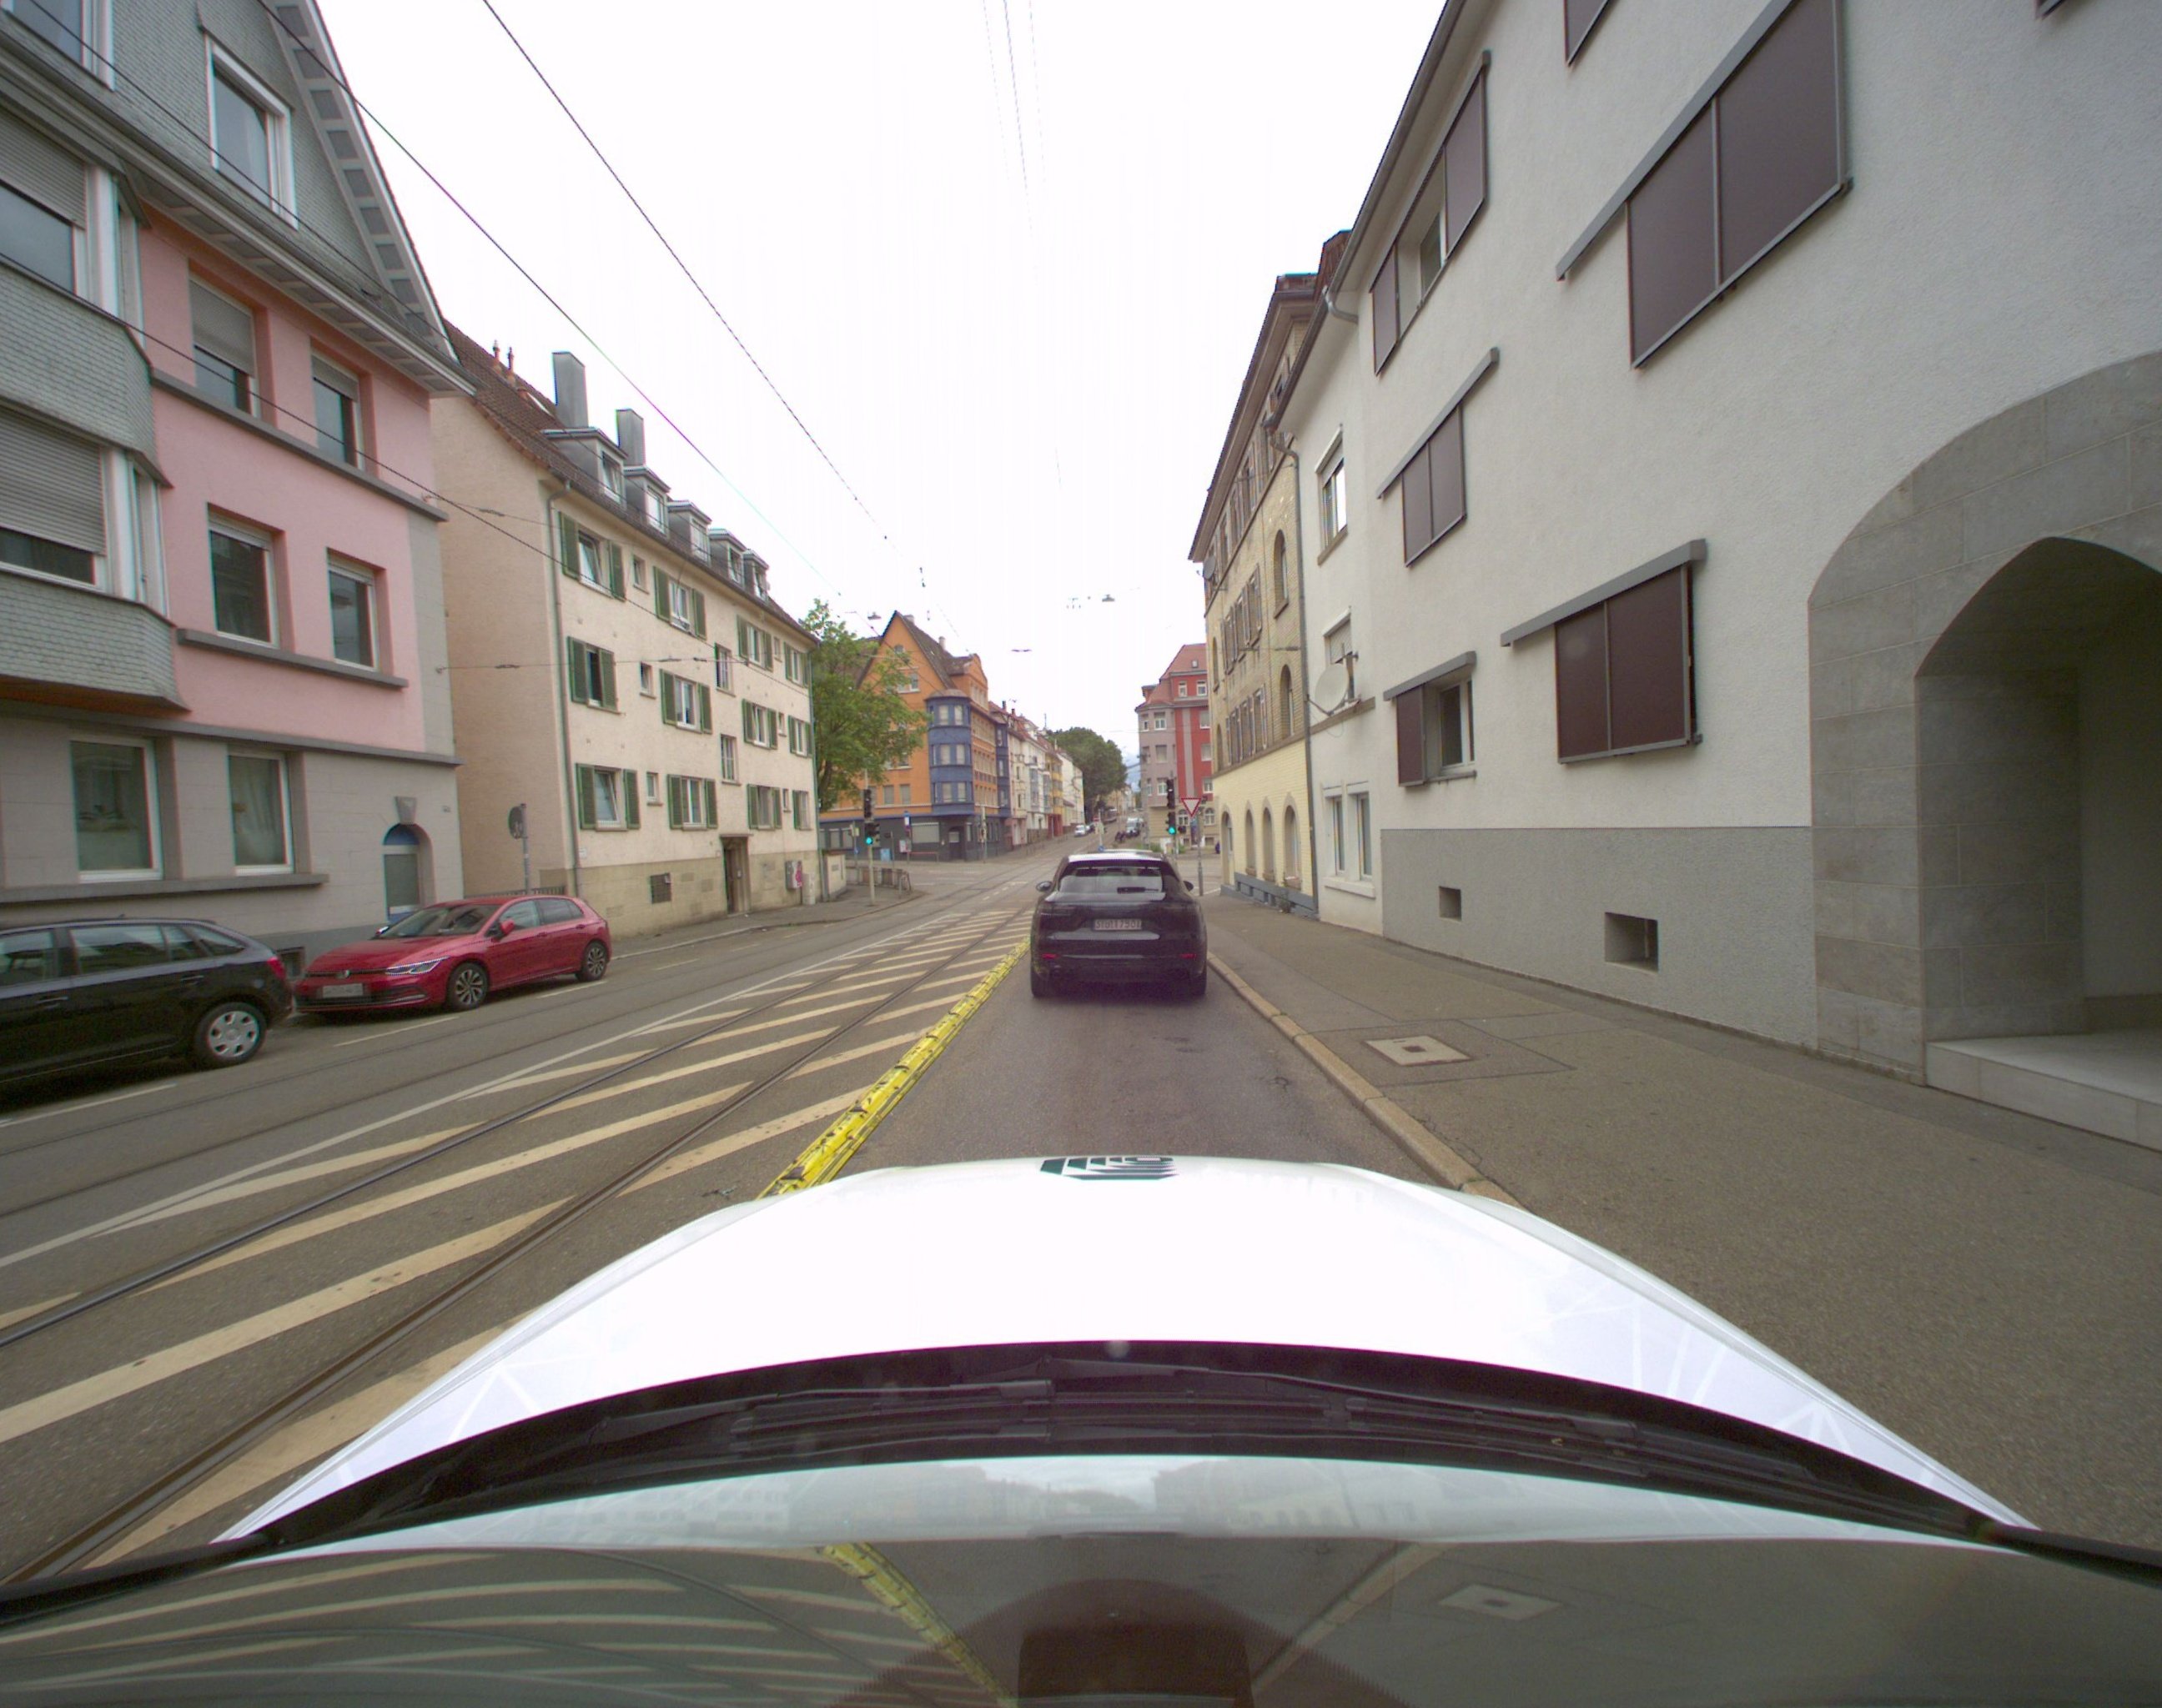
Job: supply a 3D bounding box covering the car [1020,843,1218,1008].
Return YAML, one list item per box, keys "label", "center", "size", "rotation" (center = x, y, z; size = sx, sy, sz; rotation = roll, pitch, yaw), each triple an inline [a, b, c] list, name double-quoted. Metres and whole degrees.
- label: "car"
  center: [0.605, 0.688, 10.496]
  size: [2.014, 1.641, 4.364]
  rotation: [0, 1, 6]

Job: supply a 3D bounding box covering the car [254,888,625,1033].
- label: "car"
  center: [-8.714, 1.338, 11.675]
  size: [1.778, 1.438, 4.263]
  rotation: [-4, -1, 2]

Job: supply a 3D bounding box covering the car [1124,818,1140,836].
- label: "car"
  center: [8.123, -4.301, 129.668]
  size: [2.255, 2.889, 4.779]
  rotation: [0, 2, 6]

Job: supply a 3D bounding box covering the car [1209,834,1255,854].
- label: "car"
  center: [13.827, -0.910, 74.460]
  size: [4.163, 1.534, 1.896]
  rotation: [-5, 5, -40]

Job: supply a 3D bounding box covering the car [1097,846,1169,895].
- label: "car"
  center: [2.234, 0.605, 33.861]
  size: [1.849, 1.883, 4.306]
  rotation: [1, 1, 20]

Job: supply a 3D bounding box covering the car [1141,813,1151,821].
- label: "car"
  center: [16.283, -9.285, 204.646]
  size: [2.255, 2.183, 4.779]
  rotation: [0, 2, 6]

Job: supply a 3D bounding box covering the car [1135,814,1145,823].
- label: "car"
  center: [13.798, -8.360, 190.729]
  size: [2.255, 2.183, 4.779]
  rotation: [0, 2, 6]

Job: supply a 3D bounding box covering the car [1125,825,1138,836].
- label: "car"
  center: [7.755, -3.580, 124.144]
  size: [1.831, 1.568, 3.827]
  rotation: [0, 2, 6]

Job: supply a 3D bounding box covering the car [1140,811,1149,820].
- label: "car"
  center: [16.383, -9.976, 210.672]
  size: [2.255, 2.183, 4.779]
  rotation: [0, 2, 6]

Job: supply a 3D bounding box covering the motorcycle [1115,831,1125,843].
- label: "motorcycle"
  center: [4.751, -2.144, 100.441]
  size: [0.858, 1.326, 2.182]
  rotation: [-7, 3, -3]

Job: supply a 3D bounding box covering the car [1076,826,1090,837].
- label: "car"
  center: [0.366, -3.778, 136.149]
  size: [1.983, 1.692, 4.008]
  rotation: [0, 2, 6]

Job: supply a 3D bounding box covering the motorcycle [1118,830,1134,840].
- label: "motorcycle"
  center: [6.150, -2.555, 110.938]
  size: [2.173, 1.326, 0.698]
  rotation: [-1, 2, -5]

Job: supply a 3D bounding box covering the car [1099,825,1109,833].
- label: "car"
  center: [4.316, -4.710, 153.203]
  size: [1.677, 1.326, 3.669]
  rotation: [0, 2, 6]

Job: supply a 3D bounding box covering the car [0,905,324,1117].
- label: "car"
  center: [-8.781, 1.272, 6.266]
  size: [1.778, 1.410, 4.243]
  rotation: [-4, -1, 2]
